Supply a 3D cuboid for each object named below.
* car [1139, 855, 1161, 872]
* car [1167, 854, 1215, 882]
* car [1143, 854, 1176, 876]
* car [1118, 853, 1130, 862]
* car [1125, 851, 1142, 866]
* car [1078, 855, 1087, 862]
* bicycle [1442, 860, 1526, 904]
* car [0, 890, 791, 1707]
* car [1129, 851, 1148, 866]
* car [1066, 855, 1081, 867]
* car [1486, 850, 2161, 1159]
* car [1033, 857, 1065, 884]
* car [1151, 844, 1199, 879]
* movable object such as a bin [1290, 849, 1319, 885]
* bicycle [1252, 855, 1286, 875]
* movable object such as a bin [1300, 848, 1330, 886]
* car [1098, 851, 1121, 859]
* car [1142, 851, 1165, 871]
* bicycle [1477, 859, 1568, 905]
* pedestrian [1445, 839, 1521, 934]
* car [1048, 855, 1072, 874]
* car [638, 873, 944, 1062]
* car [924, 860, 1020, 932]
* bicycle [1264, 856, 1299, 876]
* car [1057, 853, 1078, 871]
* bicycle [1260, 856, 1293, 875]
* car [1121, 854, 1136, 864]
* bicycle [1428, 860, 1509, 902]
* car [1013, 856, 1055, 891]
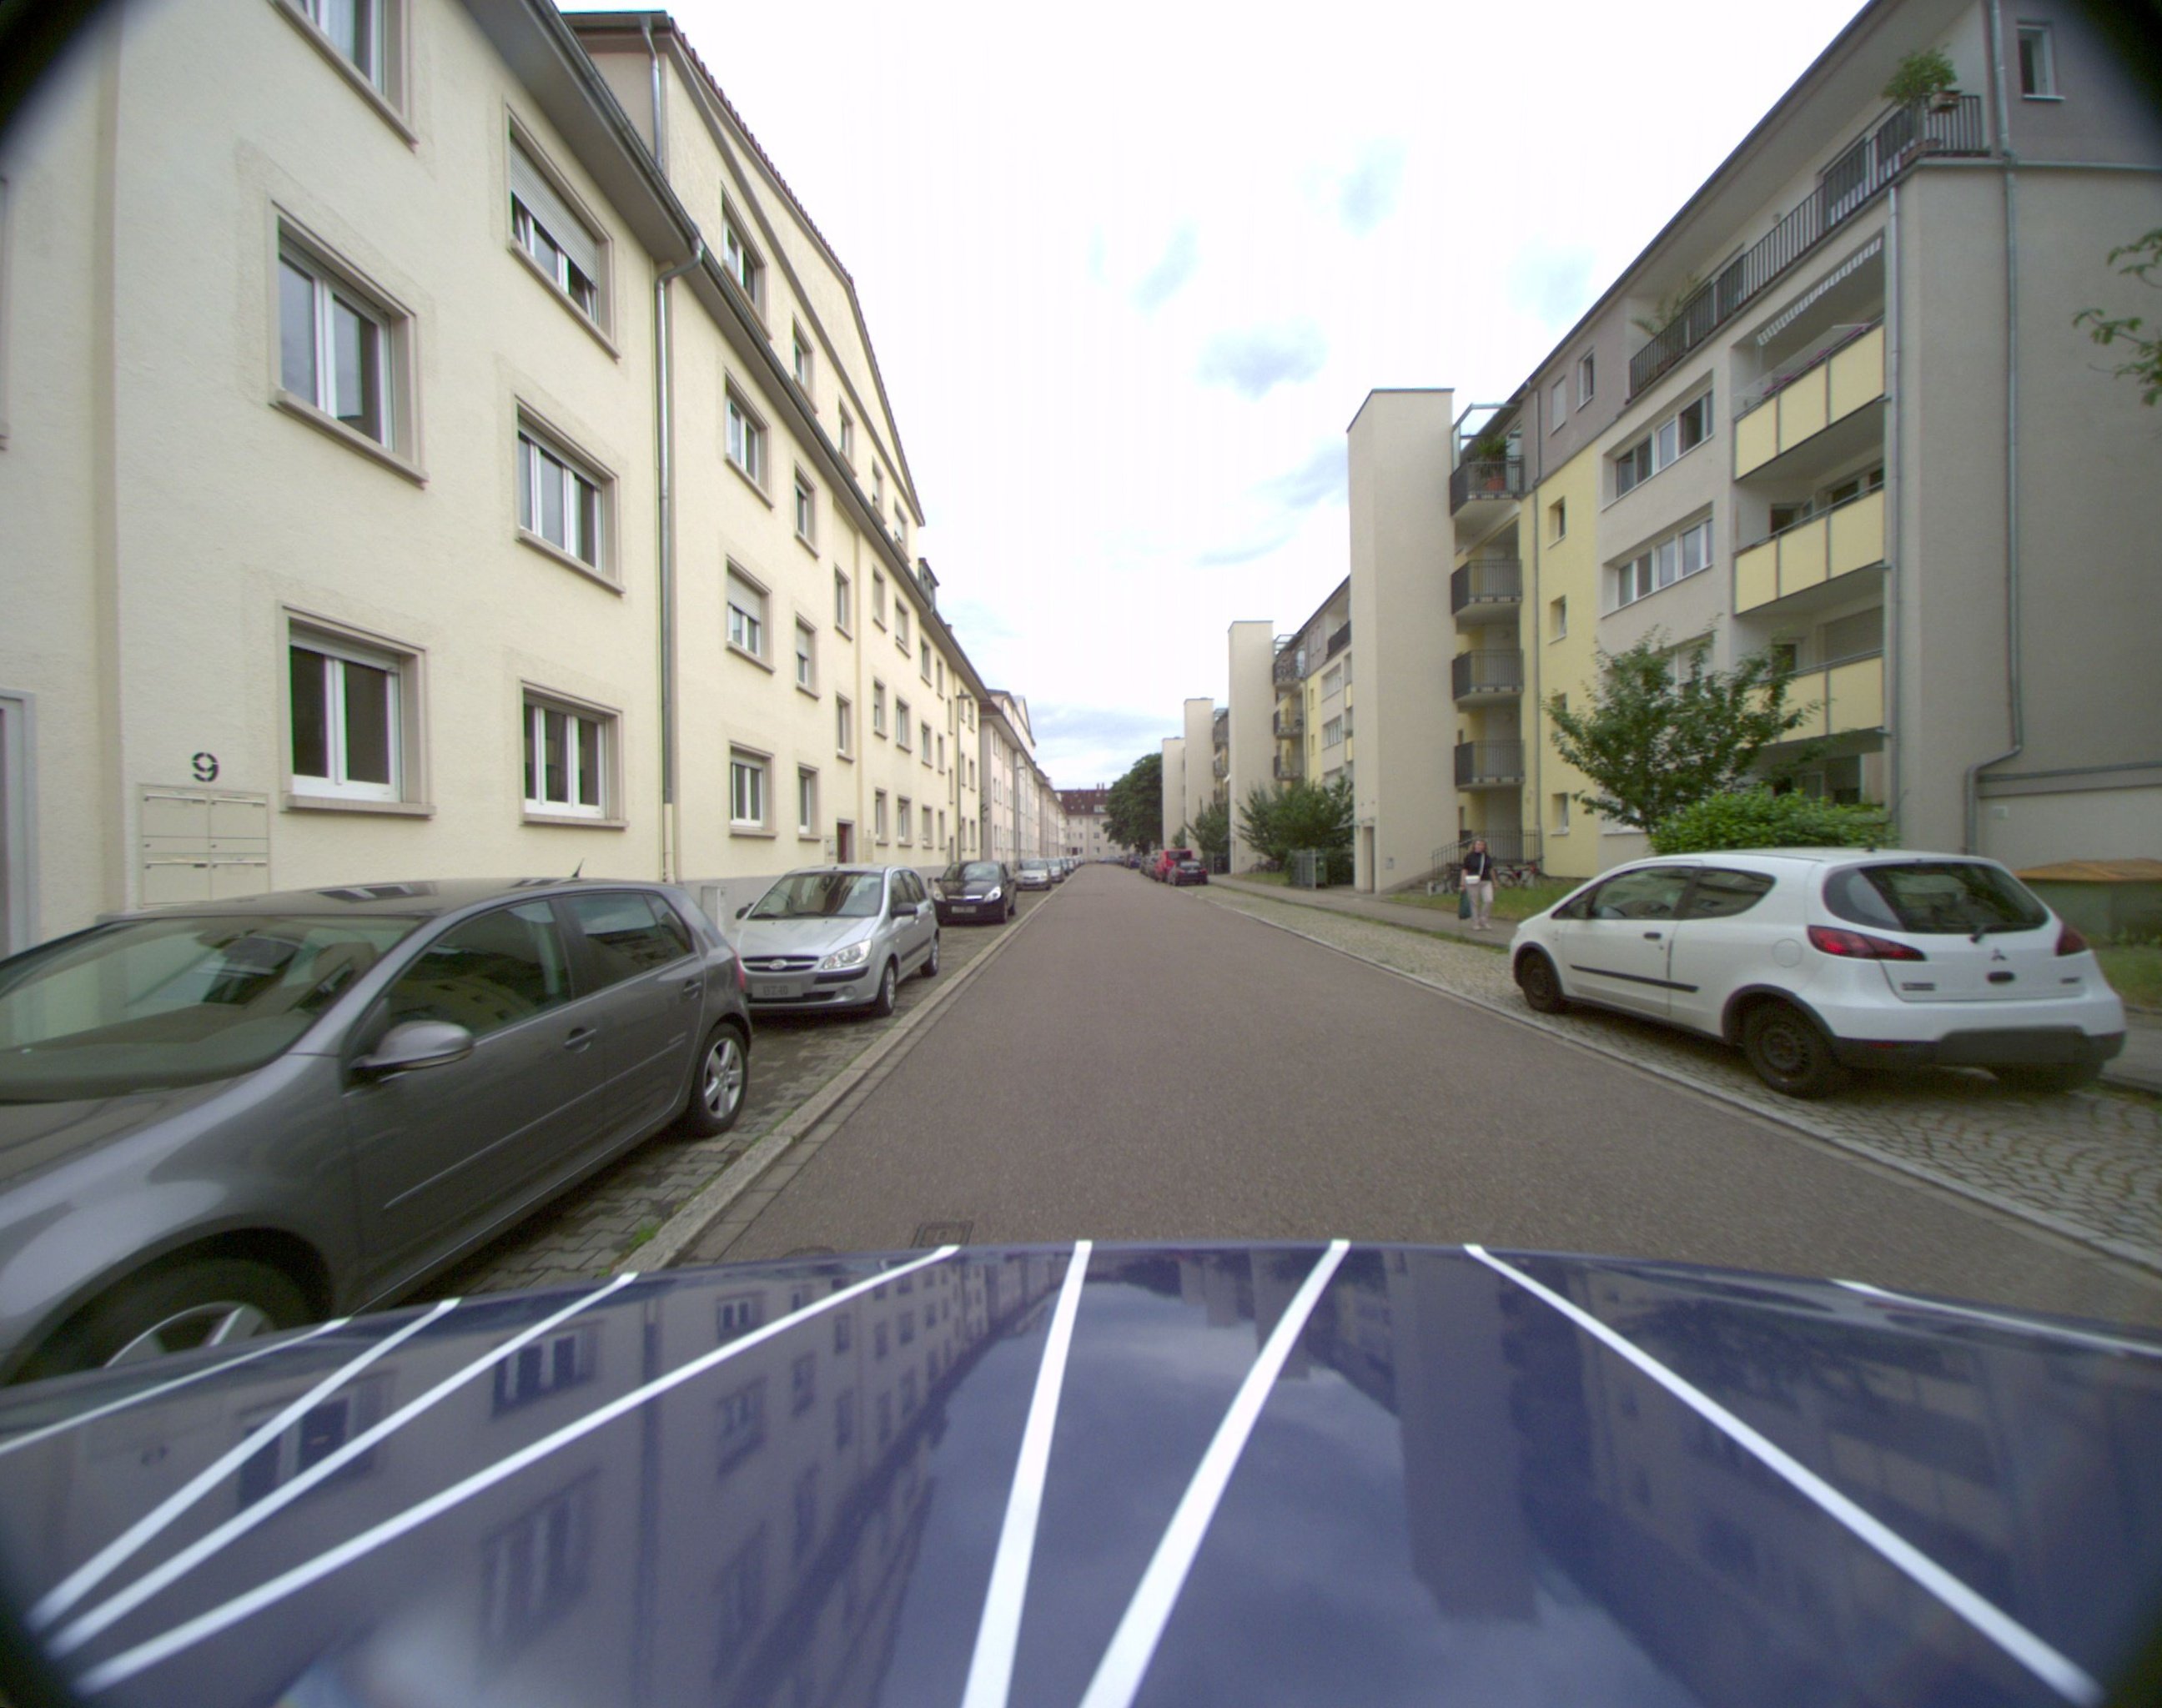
[{"bbox_3d":[6.233,0.810,68.553,1.647,1.430,3.856,-3,0,1],"label":"car"},{"bbox_3d":[5.761,0.694,40.419,1.875,1.316,4.361,-2,0,0],"label":"car"},{"bbox_3d":[5.846,0.796,57.216,1.839,1.561,4.861,-3,0,-1],"label":"car"},{"bbox_3d":[7.578,0.630,134.091,2.000,1.566,4.210,-3,0,2],"label":"car"},{"bbox_3d":[6.812,0.603,98.656,1.891,1.844,4.785,-1,0,0],"label":"car"},{"bbox_3d":[0.339,0.841,143.249,1.563,1.334,3.789,0,0,1],"label":"car"},{"bbox_3d":[10.933,0.745,20.614,2.029,1.135,0.623,-1,1,-9],"label":"bicycle"},{"bbox_3d":[-2.840,0.999,3.243,1.607,1.468,3.869,-1,0,1],"label":"car"},{"bbox_3d":[6.508,0.489,86.648,1.804,1.617,4.472,-2,0,1],"label":"car"},{"bbox_3d":[-0.974,0.860,96.565,1.792,1.455,4.040,0,0,1],"label":"car"},{"bbox_3d":[5.095,0.793,5.950,1.725,1.561,3.870,-3,0,0],"label":"car"},{"bbox_3d":[-1.887,0.945,45.880,1.729,1.483,4.060,-1,0,1],"label":"car"},{"bbox_3d":[5.720,0.455,46.637,2.157,1.942,4.921,-3,0,-1],"label":"car"},{"bbox_3d":[9.041,0.525,30.757,0.805,1.421,1.288,-2,0,4],"label":"movable object such as a bin"},{"bbox_3d":[11.312,0.651,45.782,1.839,1.112,0.605,-2,0,0],"label":"bicycle"},{"bbox_3d":[9.021,0.480,29.371,0.805,1.421,1.288,-2,0,5],"label":"movable object such as a bin"},{"bbox_3d":[5.902,0.126,157.170,4.545,1.551,1.565,-1,1,5],"label":"car"},{"bbox_3d":[5.977,0.533,62.947,1.657,1.521,3.895,-3,0,3],"label":"car"},{"bbox_3d":[11.443,0.721,19.730,2.028,1.135,0.623,-1,1,-2],"label":"bicycle"},{"bbox_3d":[7.017,0.551,13.311,0.802,1.600,0.946,-1,0,-3],"label":"pedestrian"},{"bbox_3d":[-1.653,0.816,61.317,1.729,1.460,4.264,-2,0,1],"label":"car"},{"bbox_3d":[-2.751,0.989,8.235,1.853,1.441,3.832,-1,0,-1],"label":"car"},{"bbox_3d":[-2.535,0.934,18.567,1.729,1.508,4.060,-1,0,0],"label":"car"},{"bbox_3d":[11.637,0.688,44.128,1.838,1.112,0.571,-1,0,7],"label":"bicycle"},{"bbox_3d":[-1.337,0.753,74.301,1.788,1.590,3.805,-2,0,2],"label":"car"},{"bbox_3d":[11.601,0.686,45.105,1.839,1.112,0.570,-1,0,3],"label":"bicycle"},{"bbox_3d":[7.085,0.754,114.220,1.919,1.431,4.434,-3,0,0],"label":"car"},{"bbox_3d":[10.821,0.743,21.239,2.029,1.135,0.623,-1,1,-8],"label":"bicycle"},{"bbox_3d":[-2.160,0.869,35.707,1.729,1.508,4.060,-1,0,0],"label":"car"}]
